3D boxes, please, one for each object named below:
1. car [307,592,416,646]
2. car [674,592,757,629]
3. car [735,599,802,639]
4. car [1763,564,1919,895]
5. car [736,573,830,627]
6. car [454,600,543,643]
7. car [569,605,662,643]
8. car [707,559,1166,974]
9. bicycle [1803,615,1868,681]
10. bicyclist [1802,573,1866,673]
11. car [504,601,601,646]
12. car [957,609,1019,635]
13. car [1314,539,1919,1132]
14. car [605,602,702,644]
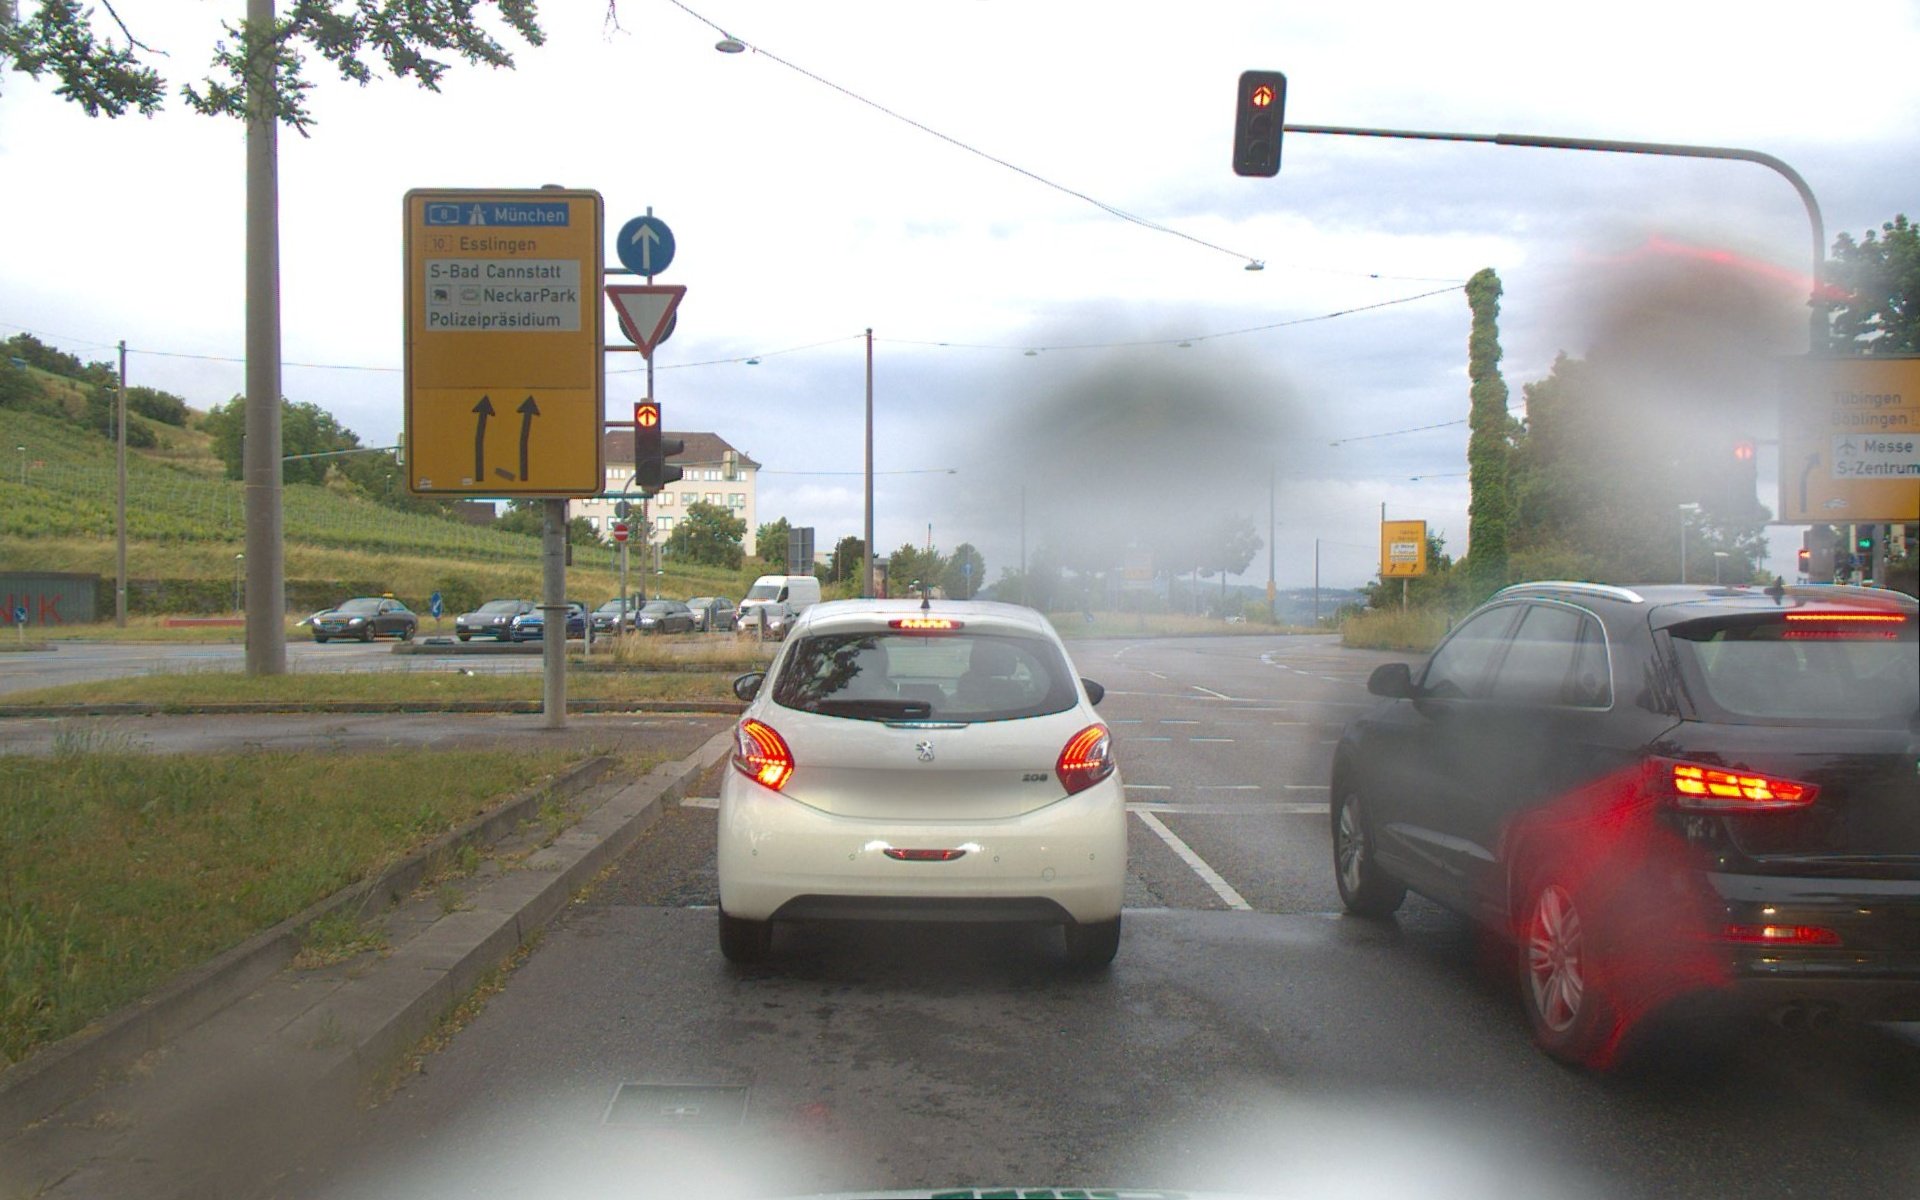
[{"bbox_3d":[-20.125,0.638,55.811,1.791,1.652,4.567,2,-1,2],"label":"car"},{"bbox_3d":[-11.381,0.499,77.257,1.953,1.603,4.194,2,-1,23],"label":"car"},{"bbox_3d":[-7.216,0.726,62.757,1.738,1.450,4.376,0,-1,4],"label":"car"},{"bbox_3d":[5.891,0.691,7.797,1.827,1.703,4.563,1,1,-2],"label":"car"},{"bbox_3d":[-9.040,0.038,85.175,1.953,2.604,6.167,2,-1,23],"label":"car"},{"bbox_3d":[-16.325,0.772,58.699,1.749,1.420,3.883,1,-1,4],"label":"car"},{"bbox_3d":[-14.428,0.977,69.485,1.786,1.498,4.671,0,1,17],"label":"car"},{"bbox_3d":[-0.138,0.635,8.143,1.683,1.515,3.998,1,0,-2],"label":"car"},{"bbox_3d":[14.531,0.780,27.491,0.792,1.040,2.327,-1,-1,24],"label":"bicycle"},{"bbox_3d":[14.540,0.381,27.541,0.792,1.611,1.022,2,-1,22],"label":"bicyclist"},{"bbox_3d":[-13.554,0.802,55.237,1.748,1.420,3.884,1,-1,9],"label":"car"},{"bbox_3d":[1.837,1.392,105.664,1.959,1.539,4.218,2,-1,34],"label":"car"},{"bbox_3d":[2.858,0.693,6.671,1.846,1.623,4.112,2,-1,-1],"label":"car"},{"bbox_3d":[-11.951,0.895,64.848,1.861,1.515,4.896,2,-1,14],"label":"car"}]
